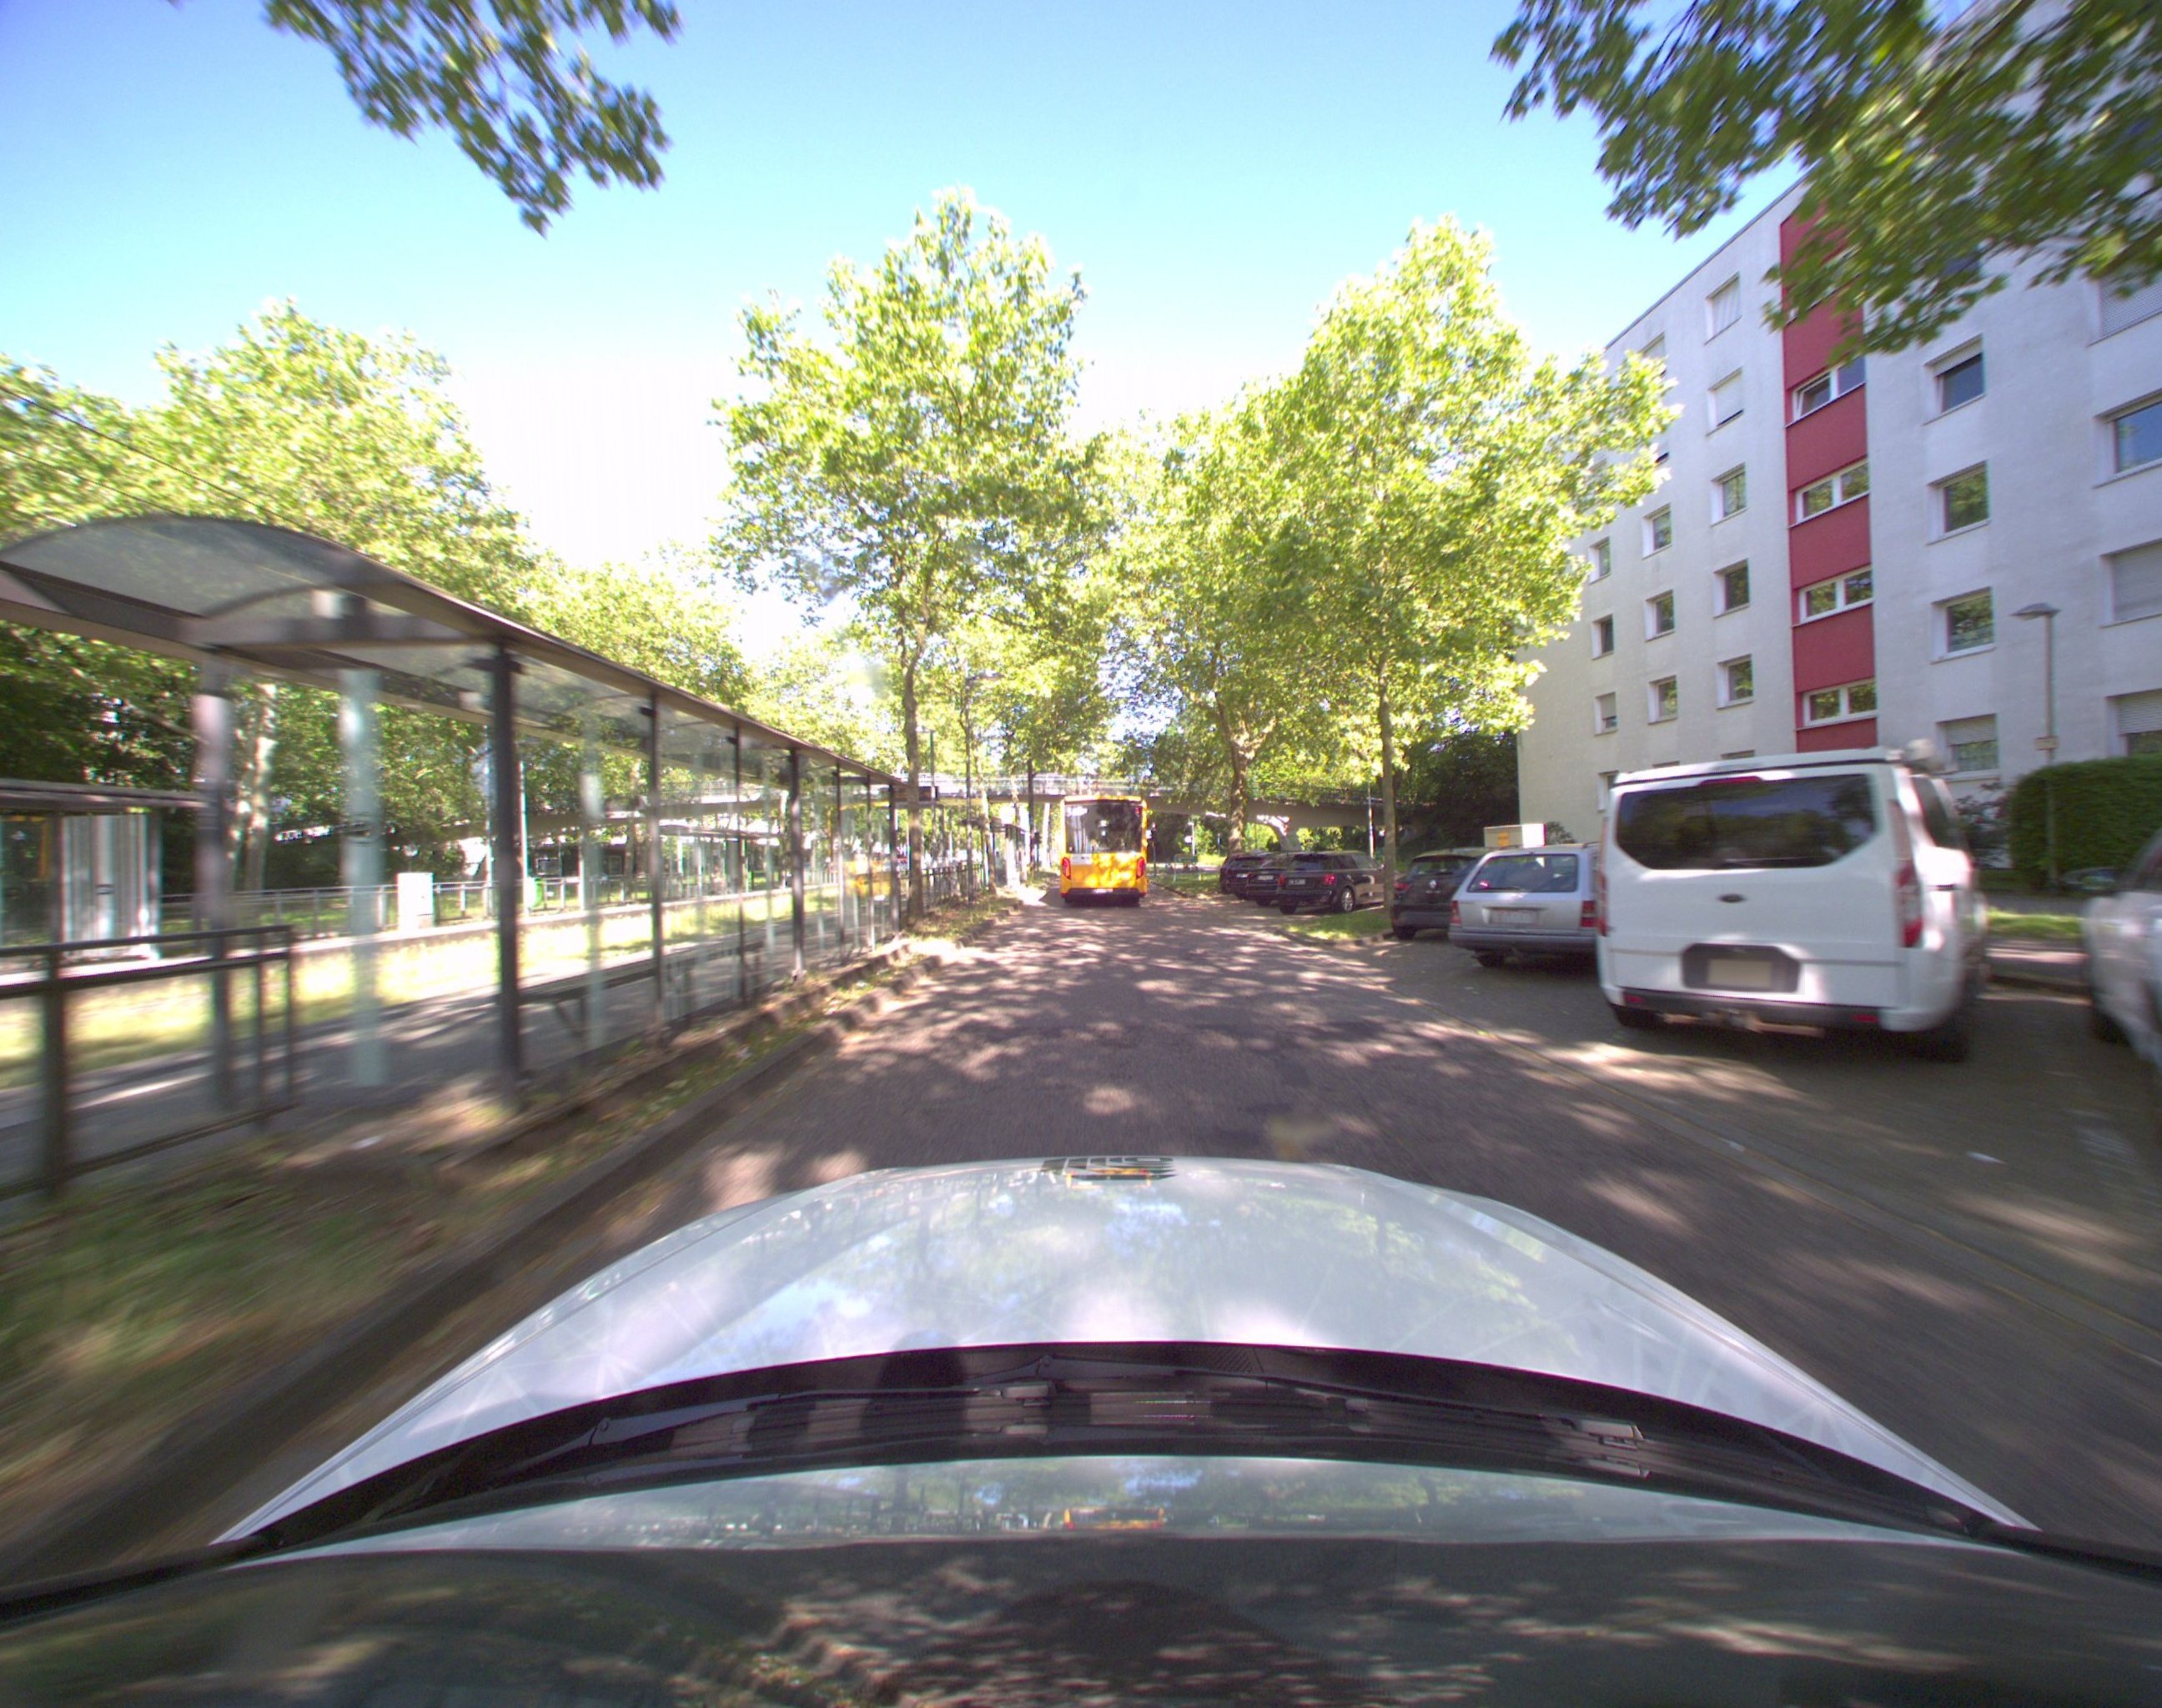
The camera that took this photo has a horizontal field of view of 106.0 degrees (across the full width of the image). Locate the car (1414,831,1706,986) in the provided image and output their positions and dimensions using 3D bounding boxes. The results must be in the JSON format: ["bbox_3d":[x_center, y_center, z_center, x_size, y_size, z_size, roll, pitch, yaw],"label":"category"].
[{"bbox_3d":[6.232,0.546,10.335,4.615,1.423,1.778,-4,0,-41],"label":"car"}]

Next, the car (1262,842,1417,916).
[{"bbox_3d":[6.374,0.568,19.842,4.023,1.468,1.761,-4,0,-43],"label":"car"}]

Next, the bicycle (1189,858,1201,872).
[{"bbox_3d":[7.699,0.721,55.150,0.503,0.852,1.473,-5,0,0],"label":"bicycle"}]

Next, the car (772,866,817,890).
[{"bbox_3d":[-20.251,1.689,57.719,1.790,1.566,4.283,-2,0,-3],"label":"car"}]

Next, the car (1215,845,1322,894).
[{"bbox_3d":[6.800,0.532,29.340,4.024,1.461,1.778,-4,0,-44],"label":"car"}]

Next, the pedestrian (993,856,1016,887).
[{"bbox_3d":[-3.164,0.723,33.810,0.851,1.243,0.850,0,0,2],"label":"pedestrian"}]

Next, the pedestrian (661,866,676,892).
[{"bbox_3d":[-26.785,1.644,52.927,0.647,1.661,0.649,-2,0,-4],"label":"pedestrian"}]

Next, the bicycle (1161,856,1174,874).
[{"bbox_3d":[5.840,0.728,54.960,0.588,1.182,1.800,-5,0,0],"label":"bicycle"}]

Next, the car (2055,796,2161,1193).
[{"bbox_3d":[6.356,0.460,3.952,4.081,1.580,1.810,-4,0,-43],"label":"car"}]

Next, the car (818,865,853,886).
[{"bbox_3d":[-19.295,1.676,63.936,1.805,1.566,4.247,-1,0,-29],"label":"car"}]

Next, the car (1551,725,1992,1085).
[{"bbox_3d":[6.030,0.224,6.889,4.614,2.052,1.994,-4,0,-40],"label":"car"}]

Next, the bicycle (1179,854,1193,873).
[{"bbox_3d":[7.084,0.609,54.879,0.588,1.182,1.800,-5,0,0],"label":"bicycle"}]

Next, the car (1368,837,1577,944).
[{"bbox_3d":[6.684,0.542,13.713,3.946,1.416,1.778,-4,0,-43],"label":"car"}]

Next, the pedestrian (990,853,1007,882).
[{"bbox_3d":[-4.045,0.667,39.874,0.722,1.417,0.682,0,0,0],"label":"pedestrian"}]

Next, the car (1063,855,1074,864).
[{"bbox_3d":[-2.375,1.097,155.892,1.979,1.643,4.135,1,1,2],"label":"car"}]

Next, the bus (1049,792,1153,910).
[{"bbox_3d":[0.536,-0.056,29.319,2.891,3.267,12.214,-1,0,0],"label":"bus"}]

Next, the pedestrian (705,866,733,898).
[{"bbox_3d":[-14.463,1.116,32.537,0.775,1.238,0.721,-1,0,-1],"label":"pedestrian"}]

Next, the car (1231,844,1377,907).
[{"bbox_3d":[6.329,0.577,22.913,4.279,1.461,1.779,-4,0,-40],"label":"car"}]

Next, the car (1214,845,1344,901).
[{"bbox_3d":[6.416,0.591,26.160,4.279,1.461,1.779,-4,0,-40],"label":"car"}]
